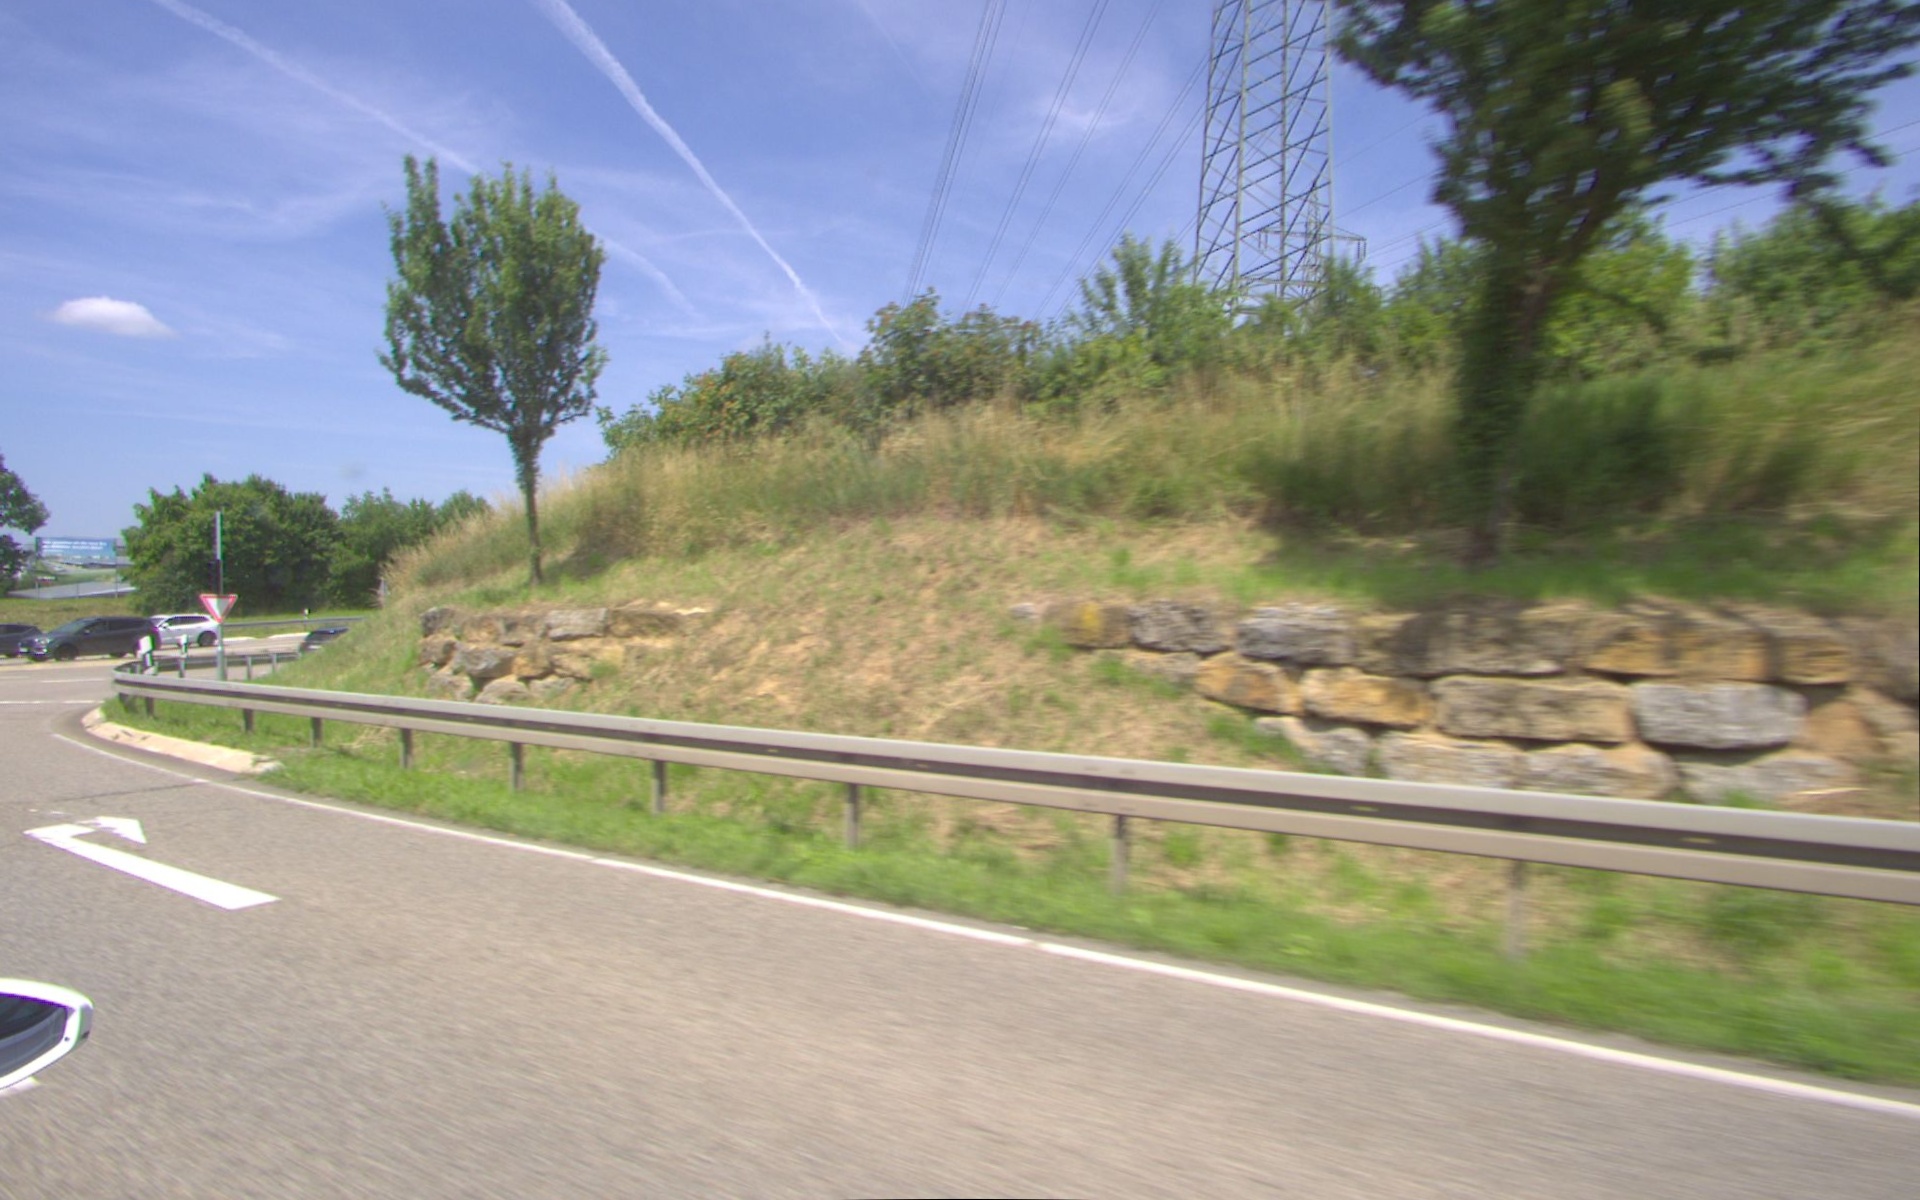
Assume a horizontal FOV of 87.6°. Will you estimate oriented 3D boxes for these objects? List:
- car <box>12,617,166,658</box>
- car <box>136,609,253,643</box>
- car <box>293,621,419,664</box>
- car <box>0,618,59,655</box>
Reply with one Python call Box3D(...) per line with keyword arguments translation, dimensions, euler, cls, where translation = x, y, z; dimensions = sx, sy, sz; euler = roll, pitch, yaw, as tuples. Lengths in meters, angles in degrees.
Box3D(translation=(-34.553, 1.471, 39.862), dimensions=(1.686, 1.530, 4.364), euler=(-1, -1, 20), cls="car")
Box3D(translation=(-37.929, 1.277, 49.744), dimensions=(1.750, 1.613, 4.360), euler=(-1, -1, 23), cls="car")
Box3D(translation=(-22.806, 1.596, 37.996), dimensions=(1.718, 1.551, 4.299), euler=(0, -2, 9), cls="car")
Box3D(translation=(-40.569, 1.533, 41.843), dimensions=(1.688, 1.530, 3.989), euler=(-1, -1, 23), cls="car")
